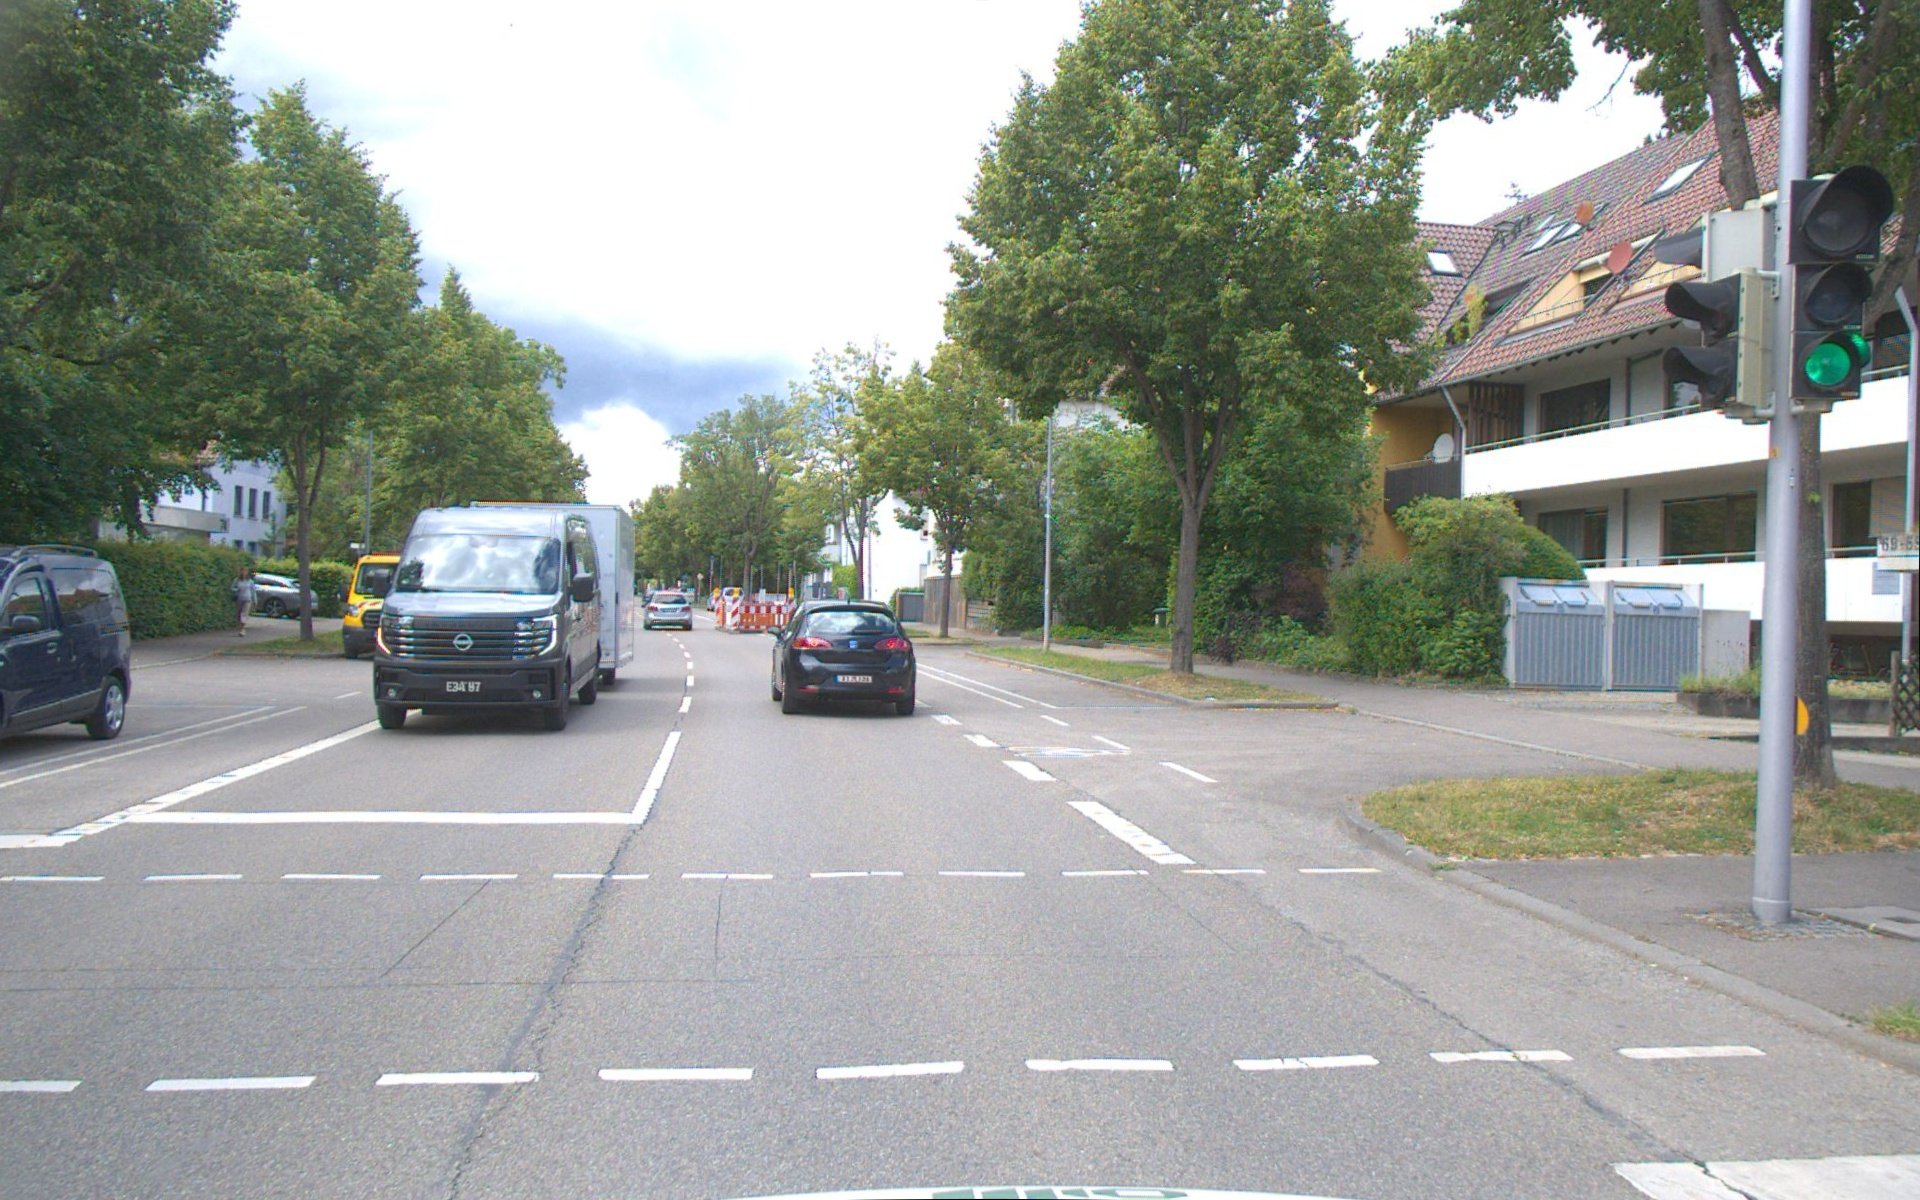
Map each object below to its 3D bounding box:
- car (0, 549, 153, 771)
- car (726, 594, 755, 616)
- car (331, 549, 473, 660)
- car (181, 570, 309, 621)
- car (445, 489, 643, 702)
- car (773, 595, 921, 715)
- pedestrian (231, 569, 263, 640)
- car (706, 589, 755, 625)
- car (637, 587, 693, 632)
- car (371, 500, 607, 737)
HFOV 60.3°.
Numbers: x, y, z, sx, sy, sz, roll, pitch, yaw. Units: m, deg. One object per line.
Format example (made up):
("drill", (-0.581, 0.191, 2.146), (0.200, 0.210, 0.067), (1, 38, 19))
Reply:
("car", (-8.778, 0.478, 14.632), (1.636, 1.803, 4.459), (0, 0, -8))
("car", (-14.652, 0.325, 110.341), (1.775, 1.440, 3.688), (1, 0, -6))
("car", (-12.067, 0.080, 36.113), (2.054, 2.213, 5.034), (1, 0, -9))
("car", (-24.029, -0.139, 55.662), (3.614, 1.622, 1.675), (1, 0, -9))
("car", (-6.256, -0.075, 25.781), (2.245, 2.840, 7.130), (0, 0, -8))
("car", (-1.593, 0.679, 22.232), (1.784, 1.463, 3.734), (0, 0, -7))
("pedestrian", (-18.008, 0.111, 41.754), (0.584, 1.772, 0.573), (1, 0, -9))
("car", (-9.602, 0.263, 68.977), (1.778, 1.440, 3.682), (1, 0, -12))
("car", (-11.684, 0.342, 65.337), (1.874, 1.715, 3.725), (0, 0, -14))
("car", (-5.398, 0.176, 19.637), (1.991, 2.426, 5.252), (0, 0, -8))
